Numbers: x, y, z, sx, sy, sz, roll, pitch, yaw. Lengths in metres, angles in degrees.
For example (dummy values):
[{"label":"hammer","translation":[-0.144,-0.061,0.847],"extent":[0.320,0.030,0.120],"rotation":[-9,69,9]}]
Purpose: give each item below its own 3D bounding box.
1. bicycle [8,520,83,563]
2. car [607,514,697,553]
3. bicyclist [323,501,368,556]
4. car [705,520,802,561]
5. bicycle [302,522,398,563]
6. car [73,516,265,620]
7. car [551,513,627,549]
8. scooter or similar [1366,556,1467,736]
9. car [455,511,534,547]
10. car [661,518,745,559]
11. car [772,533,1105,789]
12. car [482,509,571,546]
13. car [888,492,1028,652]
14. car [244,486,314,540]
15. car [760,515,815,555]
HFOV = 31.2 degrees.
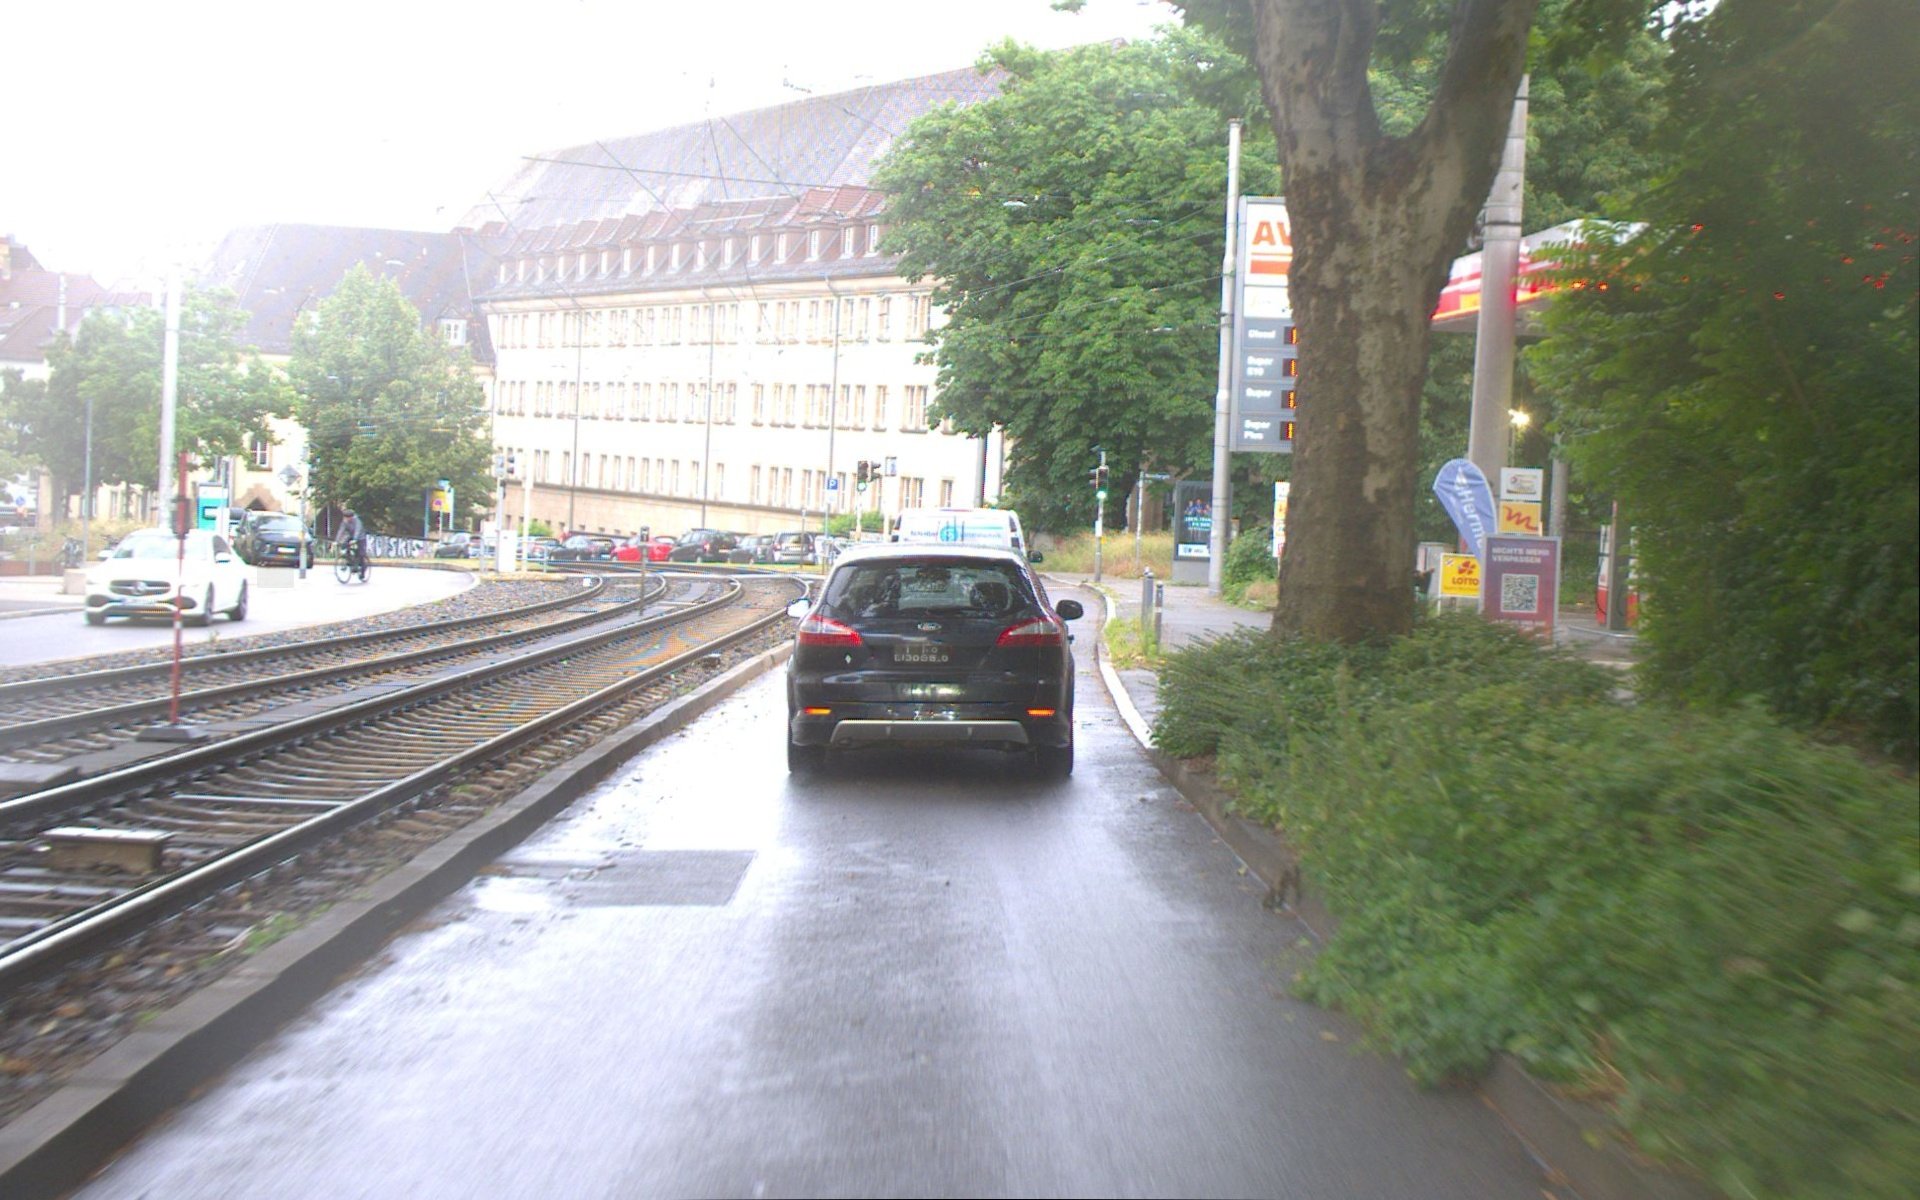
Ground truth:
[{"label":"bicycle","translation":[-23.909,-1.538,89.893],"extent":[1.813,1.057,0.570],"rotation":[2,1,-3]},{"label":"car","translation":[-13.141,-2.822,146.519],"extent":[1.994,1.537,3.999],"rotation":[1,1,-37]},{"label":"bicyclist","translation":[-14.744,-1.722,82.512],"extent":[0.772,1.309,0.791],"rotation":[-1,2,-38]},{"label":"car","translation":[-8.247,-2.379,137.020],"extent":[1.994,1.537,4.000],"rotation":[1,1,-35]},{"label":"bicycle","translation":[-14.645,-1.379,82.554],"extent":[2.099,0.940,0.815],"rotation":[0,2,-38]},{"label":"car","translation":[-12.130,-0.514,53.025],"extent":[1.799,1.477,4.840],"rotation":[2,1,0]},{"label":"car","translation":[-16.304,-3.037,150.938],"extent":[1.993,1.537,4.001],"rotation":[0,2,-28]},{"label":"scooter or similar","translation":[3.229,0.327,24.257],"extent":[0.374,1.230,1.369],"rotation":[1,-1,21]},{"label":"car","translation":[-21.473,-3.279,158.437],"extent":[1.993,1.537,4.000],"rotation":[1,1,-34]},{"label":"car","translation":[-10.626,-2.546,141.900],"extent":[1.581,1.537,4.000],"rotation":[1,1,-35]},{"label":"car","translation":[-0.218,0.330,22.820],"extent":[1.933,1.448,4.318],"rotation":[3,1,-2]},{"label":"car","translation":[-19.517,-3.276,154.662],"extent":[1.994,1.537,3.998],"rotation":[1,1,-42]},{"label":"car","translation":[-0.014,-0.399,46.491],"extent":[1.740,2.007,3.904],"rotation":[2,1,0]},{"label":"car","translation":[-20.671,-2.643,104.427],"extent":[1.993,1.537,4.001],"rotation":[2,1,-10]},{"label":"car","translation":[-6.702,-2.522,133.342],"extent":[1.657,1.471,3.645],"rotation":[2,1,-10]}]
